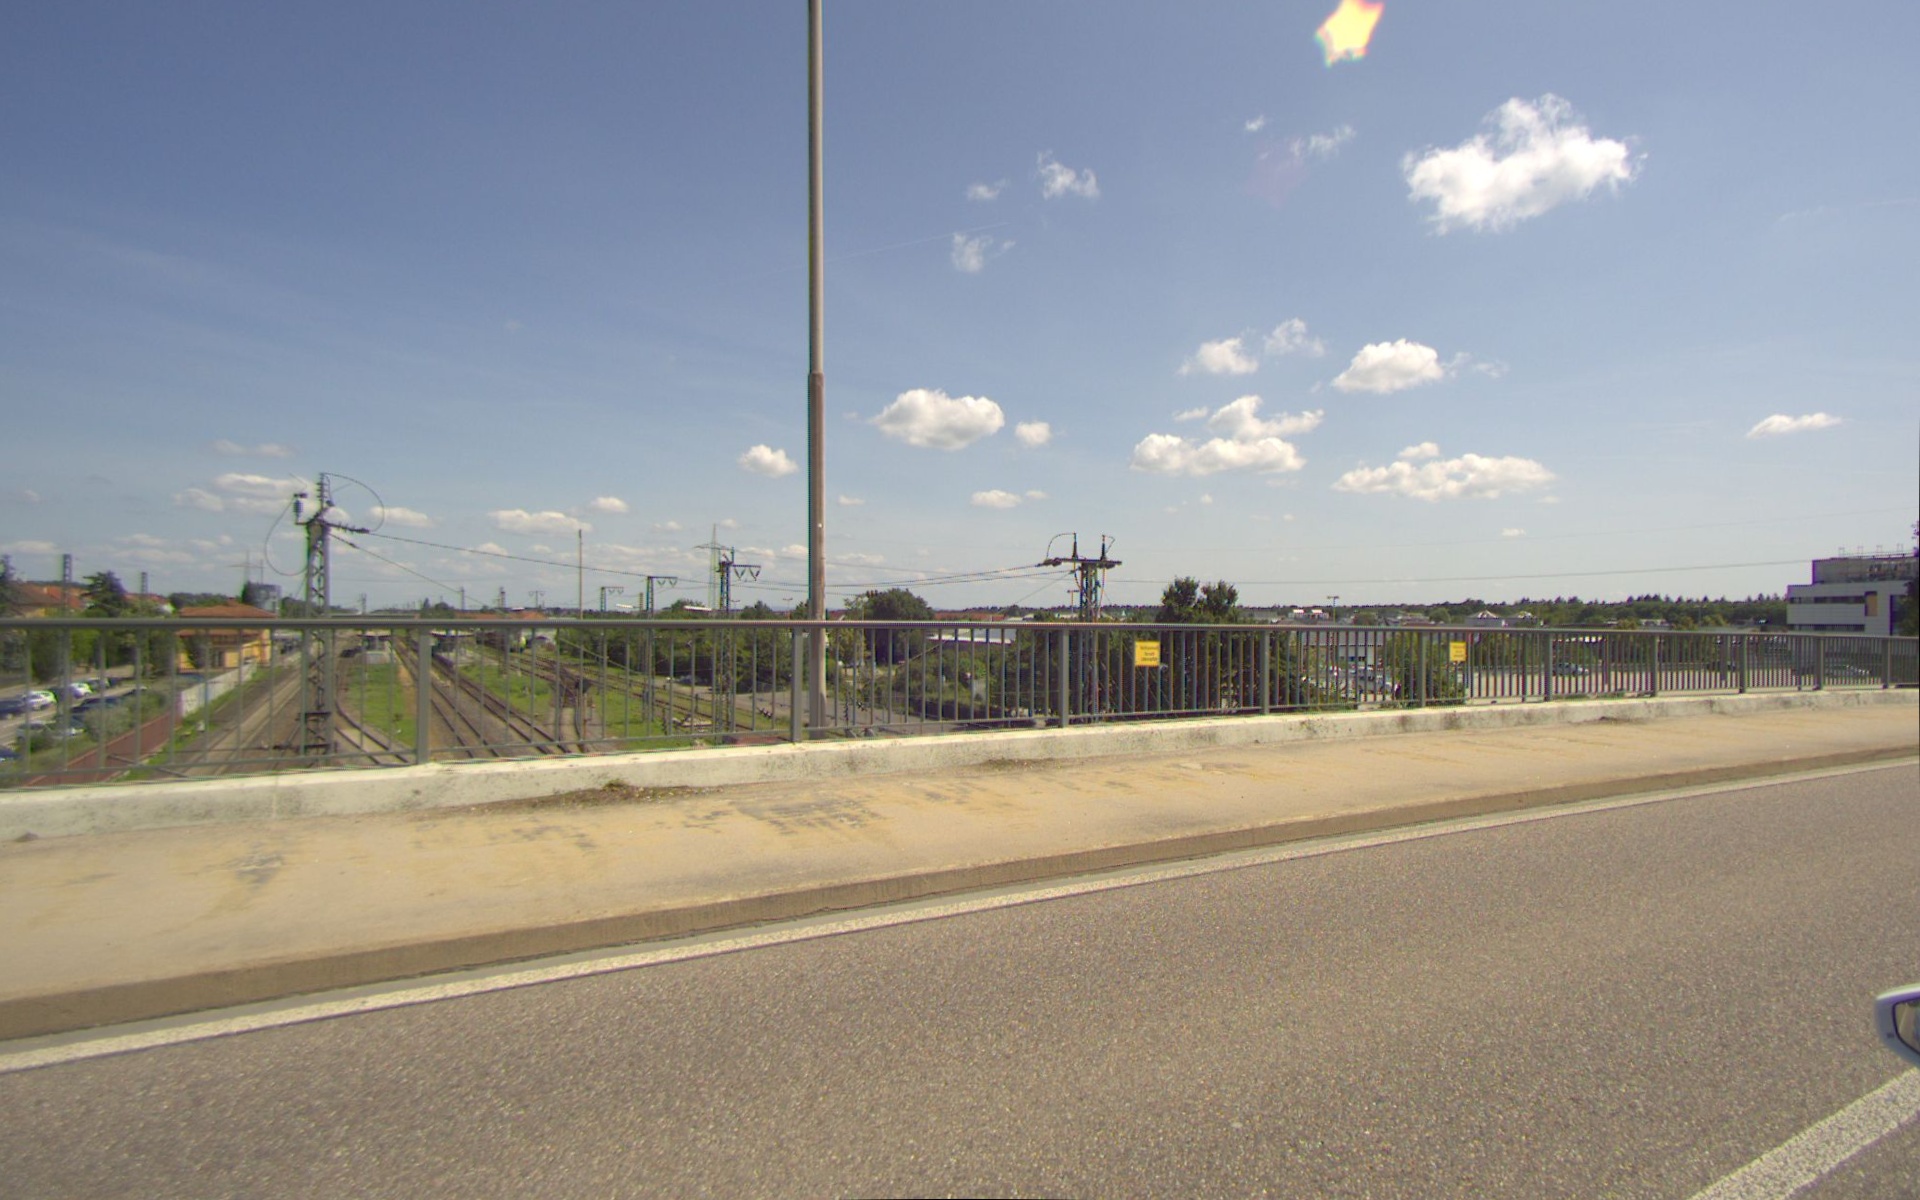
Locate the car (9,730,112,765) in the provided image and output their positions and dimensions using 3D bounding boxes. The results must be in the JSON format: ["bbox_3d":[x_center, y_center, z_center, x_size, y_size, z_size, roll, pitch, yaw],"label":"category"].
[{"bbox_3d":[-57.827,9.495,64.652,4.529,1.623,2.208,3,3,-4],"label":"car"}]

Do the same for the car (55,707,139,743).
[{"bbox_3d":[-60.161,8.694,70.076,3.930,2.041,1.995,3,3,-11],"label":"car"}]

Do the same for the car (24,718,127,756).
[{"bbox_3d":[-59.369,9.189,67.495,4.769,2.041,1.995,3,4,-12],"label":"car"}]

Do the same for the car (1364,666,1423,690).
[{"bbox_3d":[34.428,6.158,79.814,1.889,1.770,3.960,3,-3,-36],"label":"car"}]
